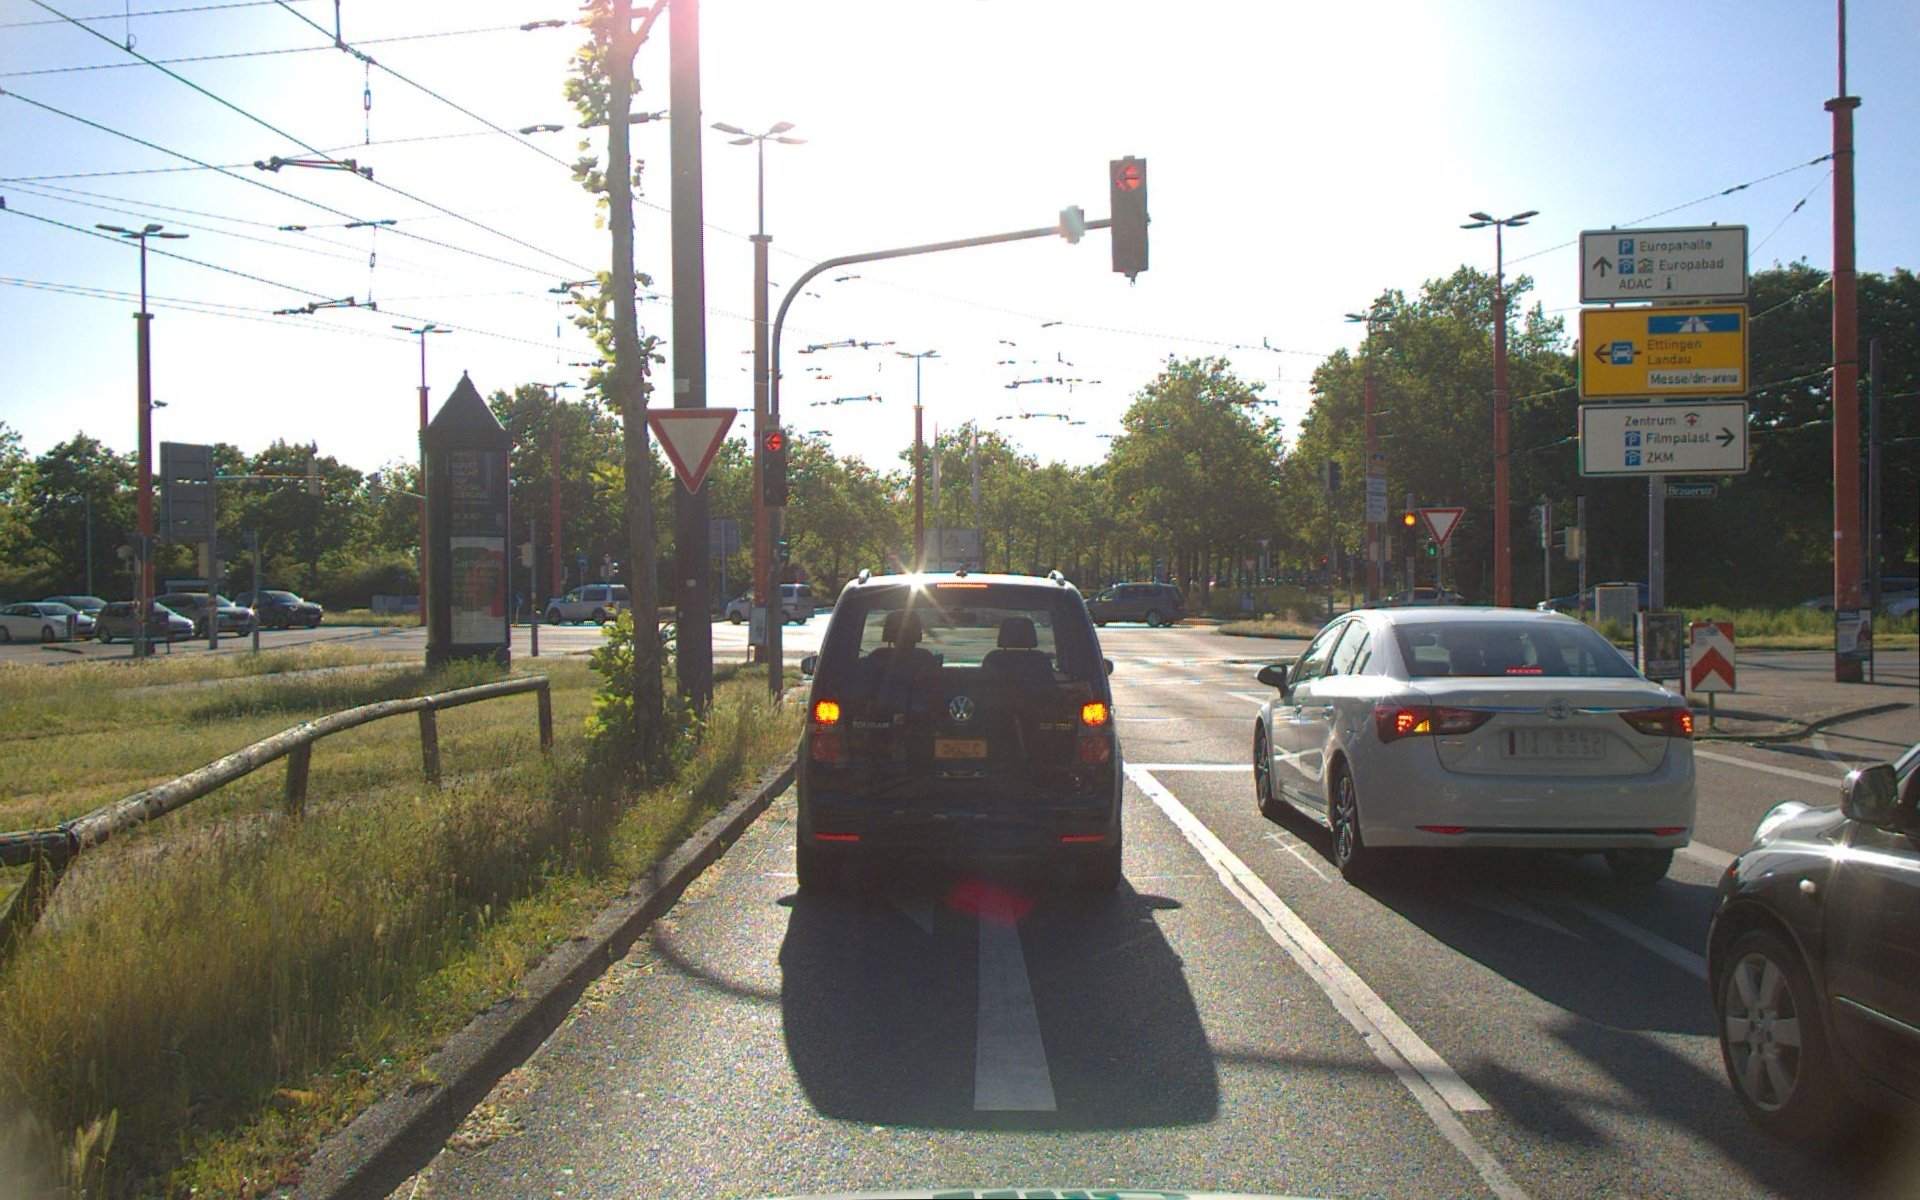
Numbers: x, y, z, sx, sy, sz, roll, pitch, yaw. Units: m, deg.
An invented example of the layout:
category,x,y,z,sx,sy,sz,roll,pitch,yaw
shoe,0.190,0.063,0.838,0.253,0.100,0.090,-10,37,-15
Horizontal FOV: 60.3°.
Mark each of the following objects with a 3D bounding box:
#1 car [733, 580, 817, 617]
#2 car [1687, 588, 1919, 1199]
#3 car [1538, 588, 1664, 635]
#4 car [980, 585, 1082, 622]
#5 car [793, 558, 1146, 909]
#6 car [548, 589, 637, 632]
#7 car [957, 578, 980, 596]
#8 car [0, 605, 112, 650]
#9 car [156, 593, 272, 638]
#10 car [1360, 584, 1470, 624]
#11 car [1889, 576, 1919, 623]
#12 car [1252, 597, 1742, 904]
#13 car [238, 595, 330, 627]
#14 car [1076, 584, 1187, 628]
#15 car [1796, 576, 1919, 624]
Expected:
category,x,y,z,sx,sy,sz,roll,pitch,yaw
car,-8.728,-0.069,78.107,3.570,1.684,1.679,1,0,25
car,3.179,0.747,3.563,1.620,1.526,3.614,1,0,0
car,22.814,0.397,58.876,4.039,1.626,1.827,0,0,27
car,3.103,0.142,72.452,4.040,1.537,1.821,1,0,26
car,0.011,0.623,9.802,1.666,1.650,3.896,0,0,-1
car,-17.324,0.492,77.937,3.754,1.923,1.763,1,0,22
car,0.856,-1.311,166.504,1.874,1.664,4.003,1,0,6
car,-34.647,1.037,63.234,4.091,1.640,1.867,0,0,25
car,-28.910,0.578,64.098,3.907,1.673,1.999,0,0,24
car,17.863,0.152,64.928,3.887,1.466,1.685,1,0,27
car,32.470,-0.024,53.923,3.745,1.549,1.693,0,0,27
car,2.980,0.729,10.143,1.685,1.463,4.198,1,0,1
car,-29.269,0.481,71.592,3.913,1.353,1.694,0,0,31
car,6.943,0.238,66.838,4.097,1.673,1.758,1,0,26
car,31.962,-0.008,58.742,4.040,1.672,1.850,0,0,27
